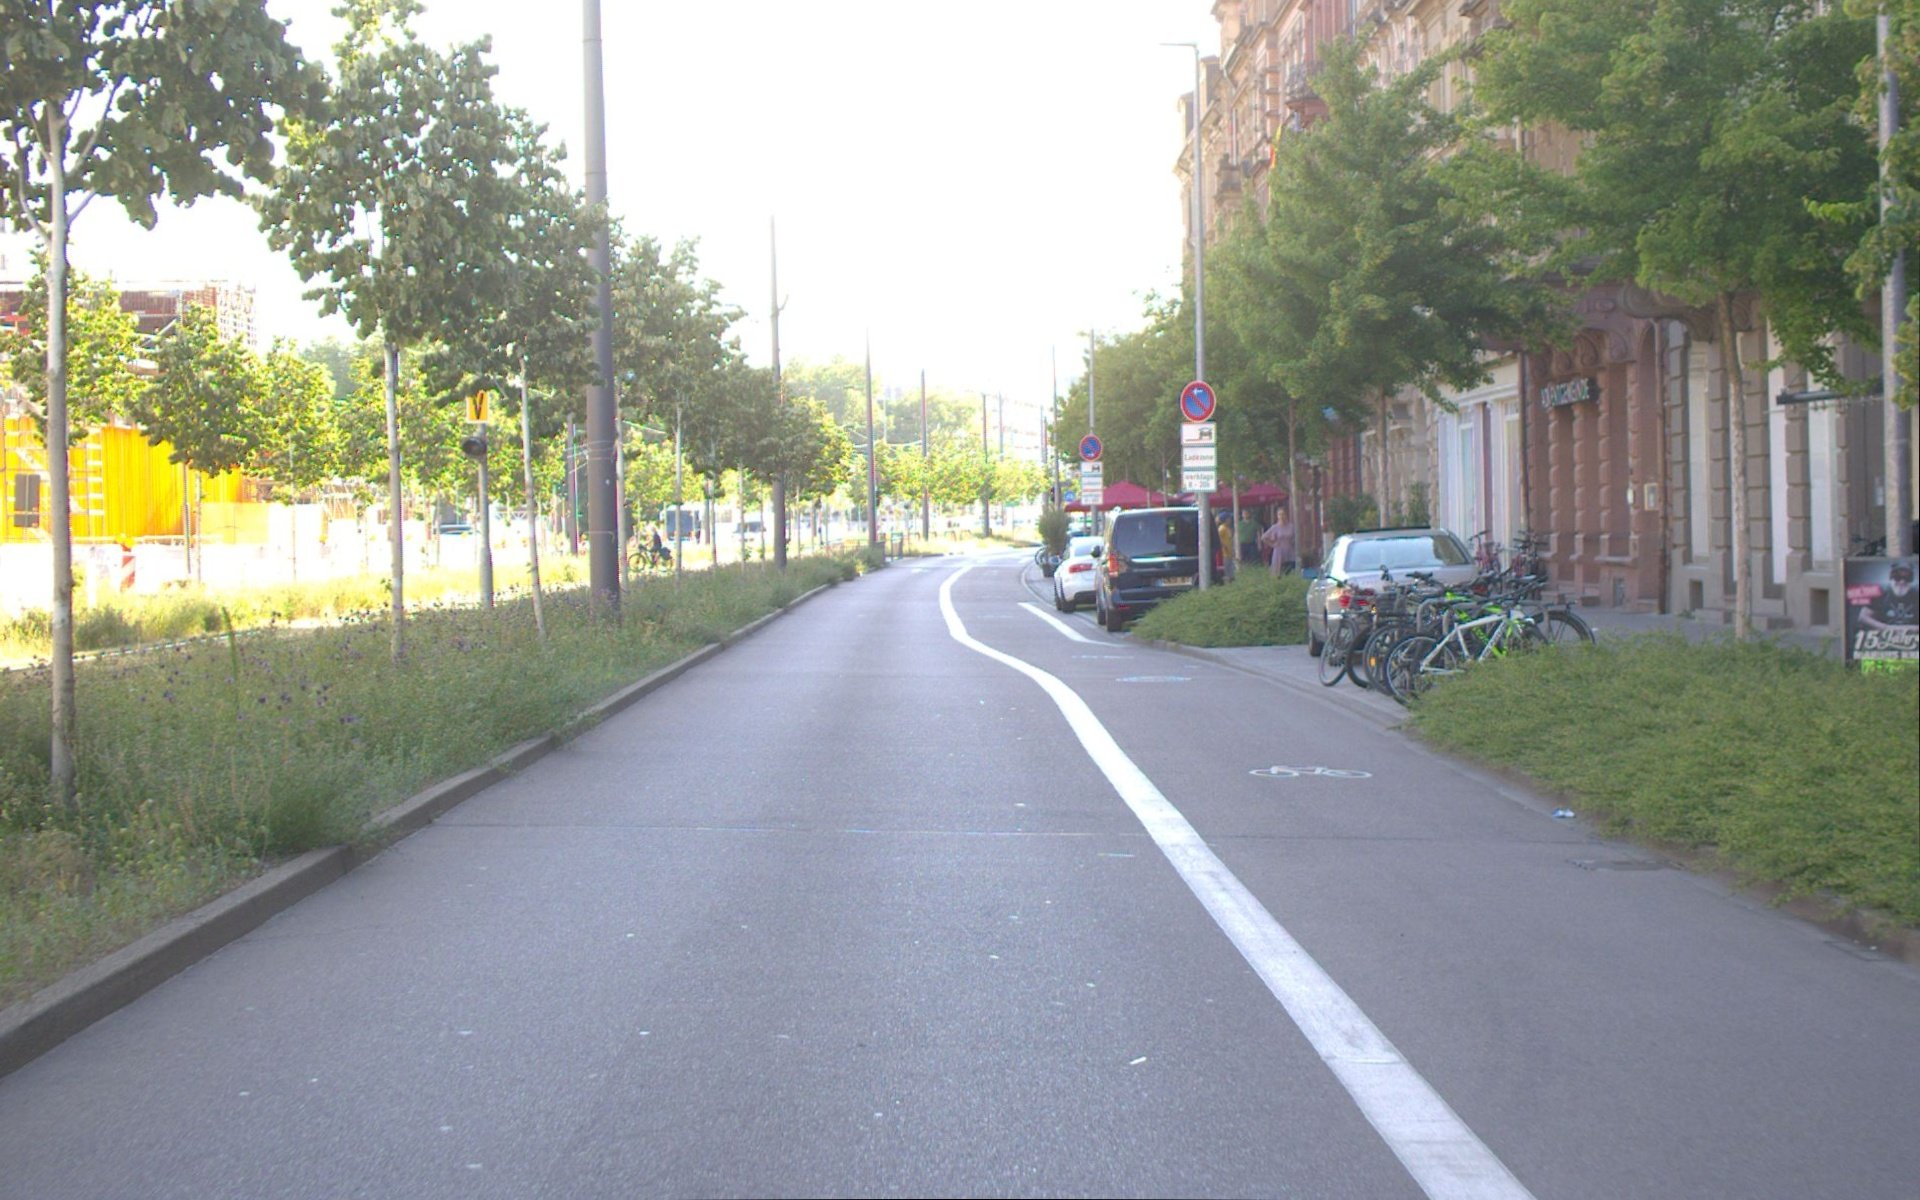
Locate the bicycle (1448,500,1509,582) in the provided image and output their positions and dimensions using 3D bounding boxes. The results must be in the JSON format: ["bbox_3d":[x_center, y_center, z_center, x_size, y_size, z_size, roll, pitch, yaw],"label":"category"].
[{"bbox_3d":[9.241,-1.067,61.364,0.661,1.397,2.353,-1,2,-1],"label":"bicycle"}]

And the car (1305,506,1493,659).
[{"bbox_3d":[4.843,-0.242,38.384,1.637,1.481,4.212,-3,2,2],"label":"car"}]

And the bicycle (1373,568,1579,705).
[{"bbox_3d":[4.276,0.297,28.517,1.576,1.044,0.489,-3,2,-8],"label":"bicycle"}]

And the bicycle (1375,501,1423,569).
[{"bbox_3d":[9.282,-1.386,72.740,0.661,1.397,2.353,-1,2,-1],"label":"bicycle"}]

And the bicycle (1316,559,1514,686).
[{"bbox_3d":[4.170,0.200,31.538,1.691,1.044,0.489,-4,1,0],"label":"bicycle"}]

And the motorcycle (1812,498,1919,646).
[{"bbox_3d":[9.020,-0.304,33.180,0.795,1.304,2.852,-3,2,-1],"label":"motorcycle"}]

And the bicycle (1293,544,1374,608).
[{"bbox_3d":[6.645,-0.441,61.286,1.081,1.081,2.770,0,1,-1],"label":"bicycle"}]

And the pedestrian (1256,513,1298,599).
[{"bbox_3d":[5.418,-0.758,58.722,0.625,1.455,0.638,-1,1,-1],"label":"pedestrian"}]

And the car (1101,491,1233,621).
[{"bbox_3d":[3.266,-0.741,54.894,1.885,1.930,4.473,-1,2,1],"label":"car"}]

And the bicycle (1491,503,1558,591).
[{"bbox_3d":[9.334,-0.894,56.904,0.661,1.397,2.353,-1,2,-1],"label":"bicycle"}]

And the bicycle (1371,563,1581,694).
[{"bbox_3d":[4.479,0.241,29.844,1.691,1.044,0.489,-3,2,-8],"label":"bicycle"}]

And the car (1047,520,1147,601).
[{"bbox_3d":[2.692,-0.803,68.236,1.849,1.452,4.156,-1,2,1],"label":"car"}]

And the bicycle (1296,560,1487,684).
[{"bbox_3d":[4.105,0.208,32.774,1.691,1.044,0.489,-4,1,0],"label":"bicycle"}]

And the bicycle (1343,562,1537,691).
[{"bbox_3d":[4.238,0.225,30.380,1.576,1.044,0.489,-3,2,-8],"label":"bicycle"}]
